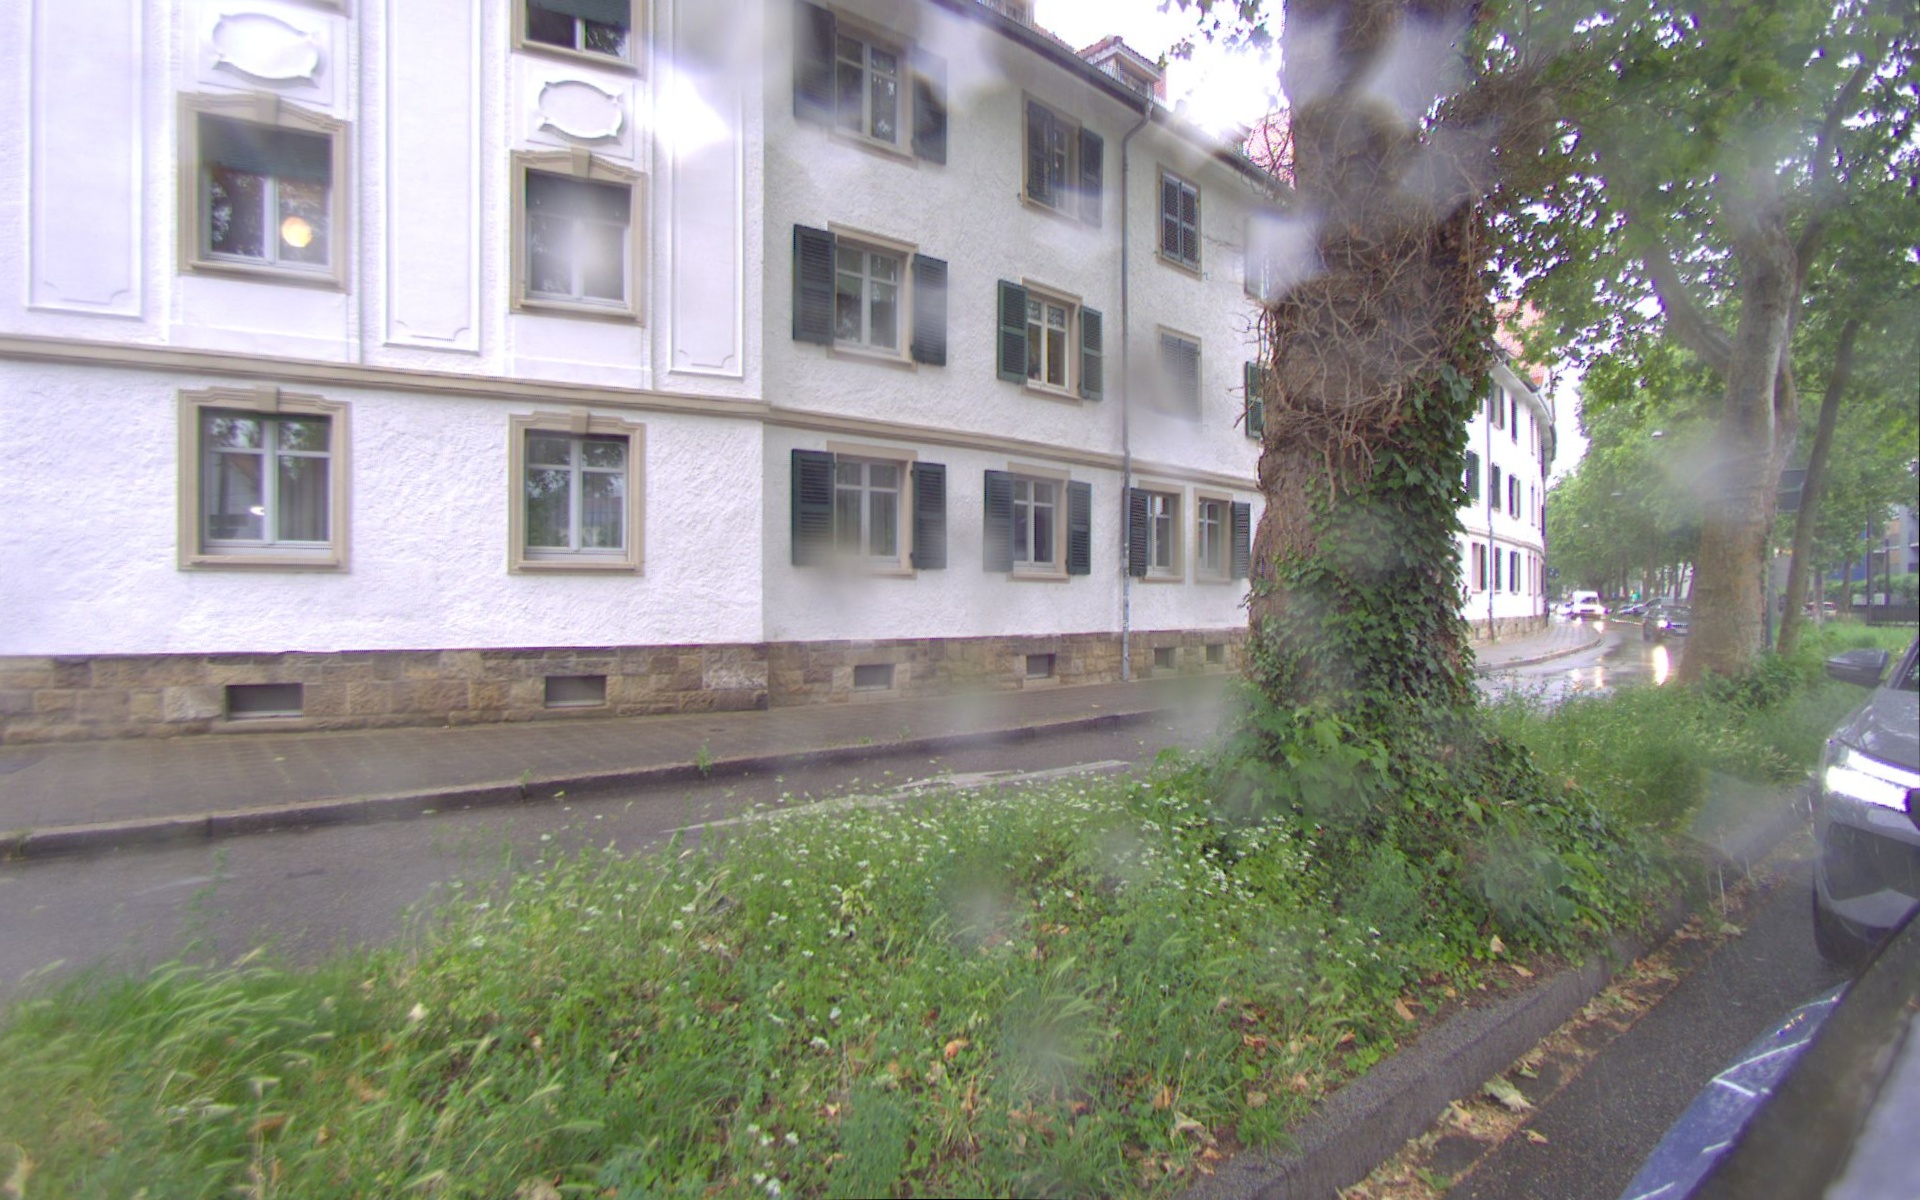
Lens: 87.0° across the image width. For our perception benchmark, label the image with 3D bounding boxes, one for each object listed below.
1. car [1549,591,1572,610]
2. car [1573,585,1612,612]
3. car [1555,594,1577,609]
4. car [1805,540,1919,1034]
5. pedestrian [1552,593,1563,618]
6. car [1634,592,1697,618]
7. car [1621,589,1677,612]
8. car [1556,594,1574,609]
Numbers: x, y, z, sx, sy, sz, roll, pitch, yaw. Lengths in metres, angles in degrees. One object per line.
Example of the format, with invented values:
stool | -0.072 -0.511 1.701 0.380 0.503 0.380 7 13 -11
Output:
car | 71.285 0.019 120.252 1.983 2.038 3.961 5 3 28
car | 55.579 -0.098 89.028 2.173 2.292 5.366 0 0 24
car | 64.422 0.189 107.598 1.816 1.545 3.959 0 0 29
car | 5.137 0.618 4.314 4.039 1.662 1.913 0 0 -44
pedestrian | 44.691 0.428 75.683 0.668 1.845 0.672 0 0 31
car | 55.905 0.403 80.297 3.969 2.039 1.977 0 -1 32
car | 60.768 0.048 89.284 3.969 2.039 1.977 0 -1 32
car | 92.822 0.245 155.221 1.983 2.038 3.961 5 3 28
